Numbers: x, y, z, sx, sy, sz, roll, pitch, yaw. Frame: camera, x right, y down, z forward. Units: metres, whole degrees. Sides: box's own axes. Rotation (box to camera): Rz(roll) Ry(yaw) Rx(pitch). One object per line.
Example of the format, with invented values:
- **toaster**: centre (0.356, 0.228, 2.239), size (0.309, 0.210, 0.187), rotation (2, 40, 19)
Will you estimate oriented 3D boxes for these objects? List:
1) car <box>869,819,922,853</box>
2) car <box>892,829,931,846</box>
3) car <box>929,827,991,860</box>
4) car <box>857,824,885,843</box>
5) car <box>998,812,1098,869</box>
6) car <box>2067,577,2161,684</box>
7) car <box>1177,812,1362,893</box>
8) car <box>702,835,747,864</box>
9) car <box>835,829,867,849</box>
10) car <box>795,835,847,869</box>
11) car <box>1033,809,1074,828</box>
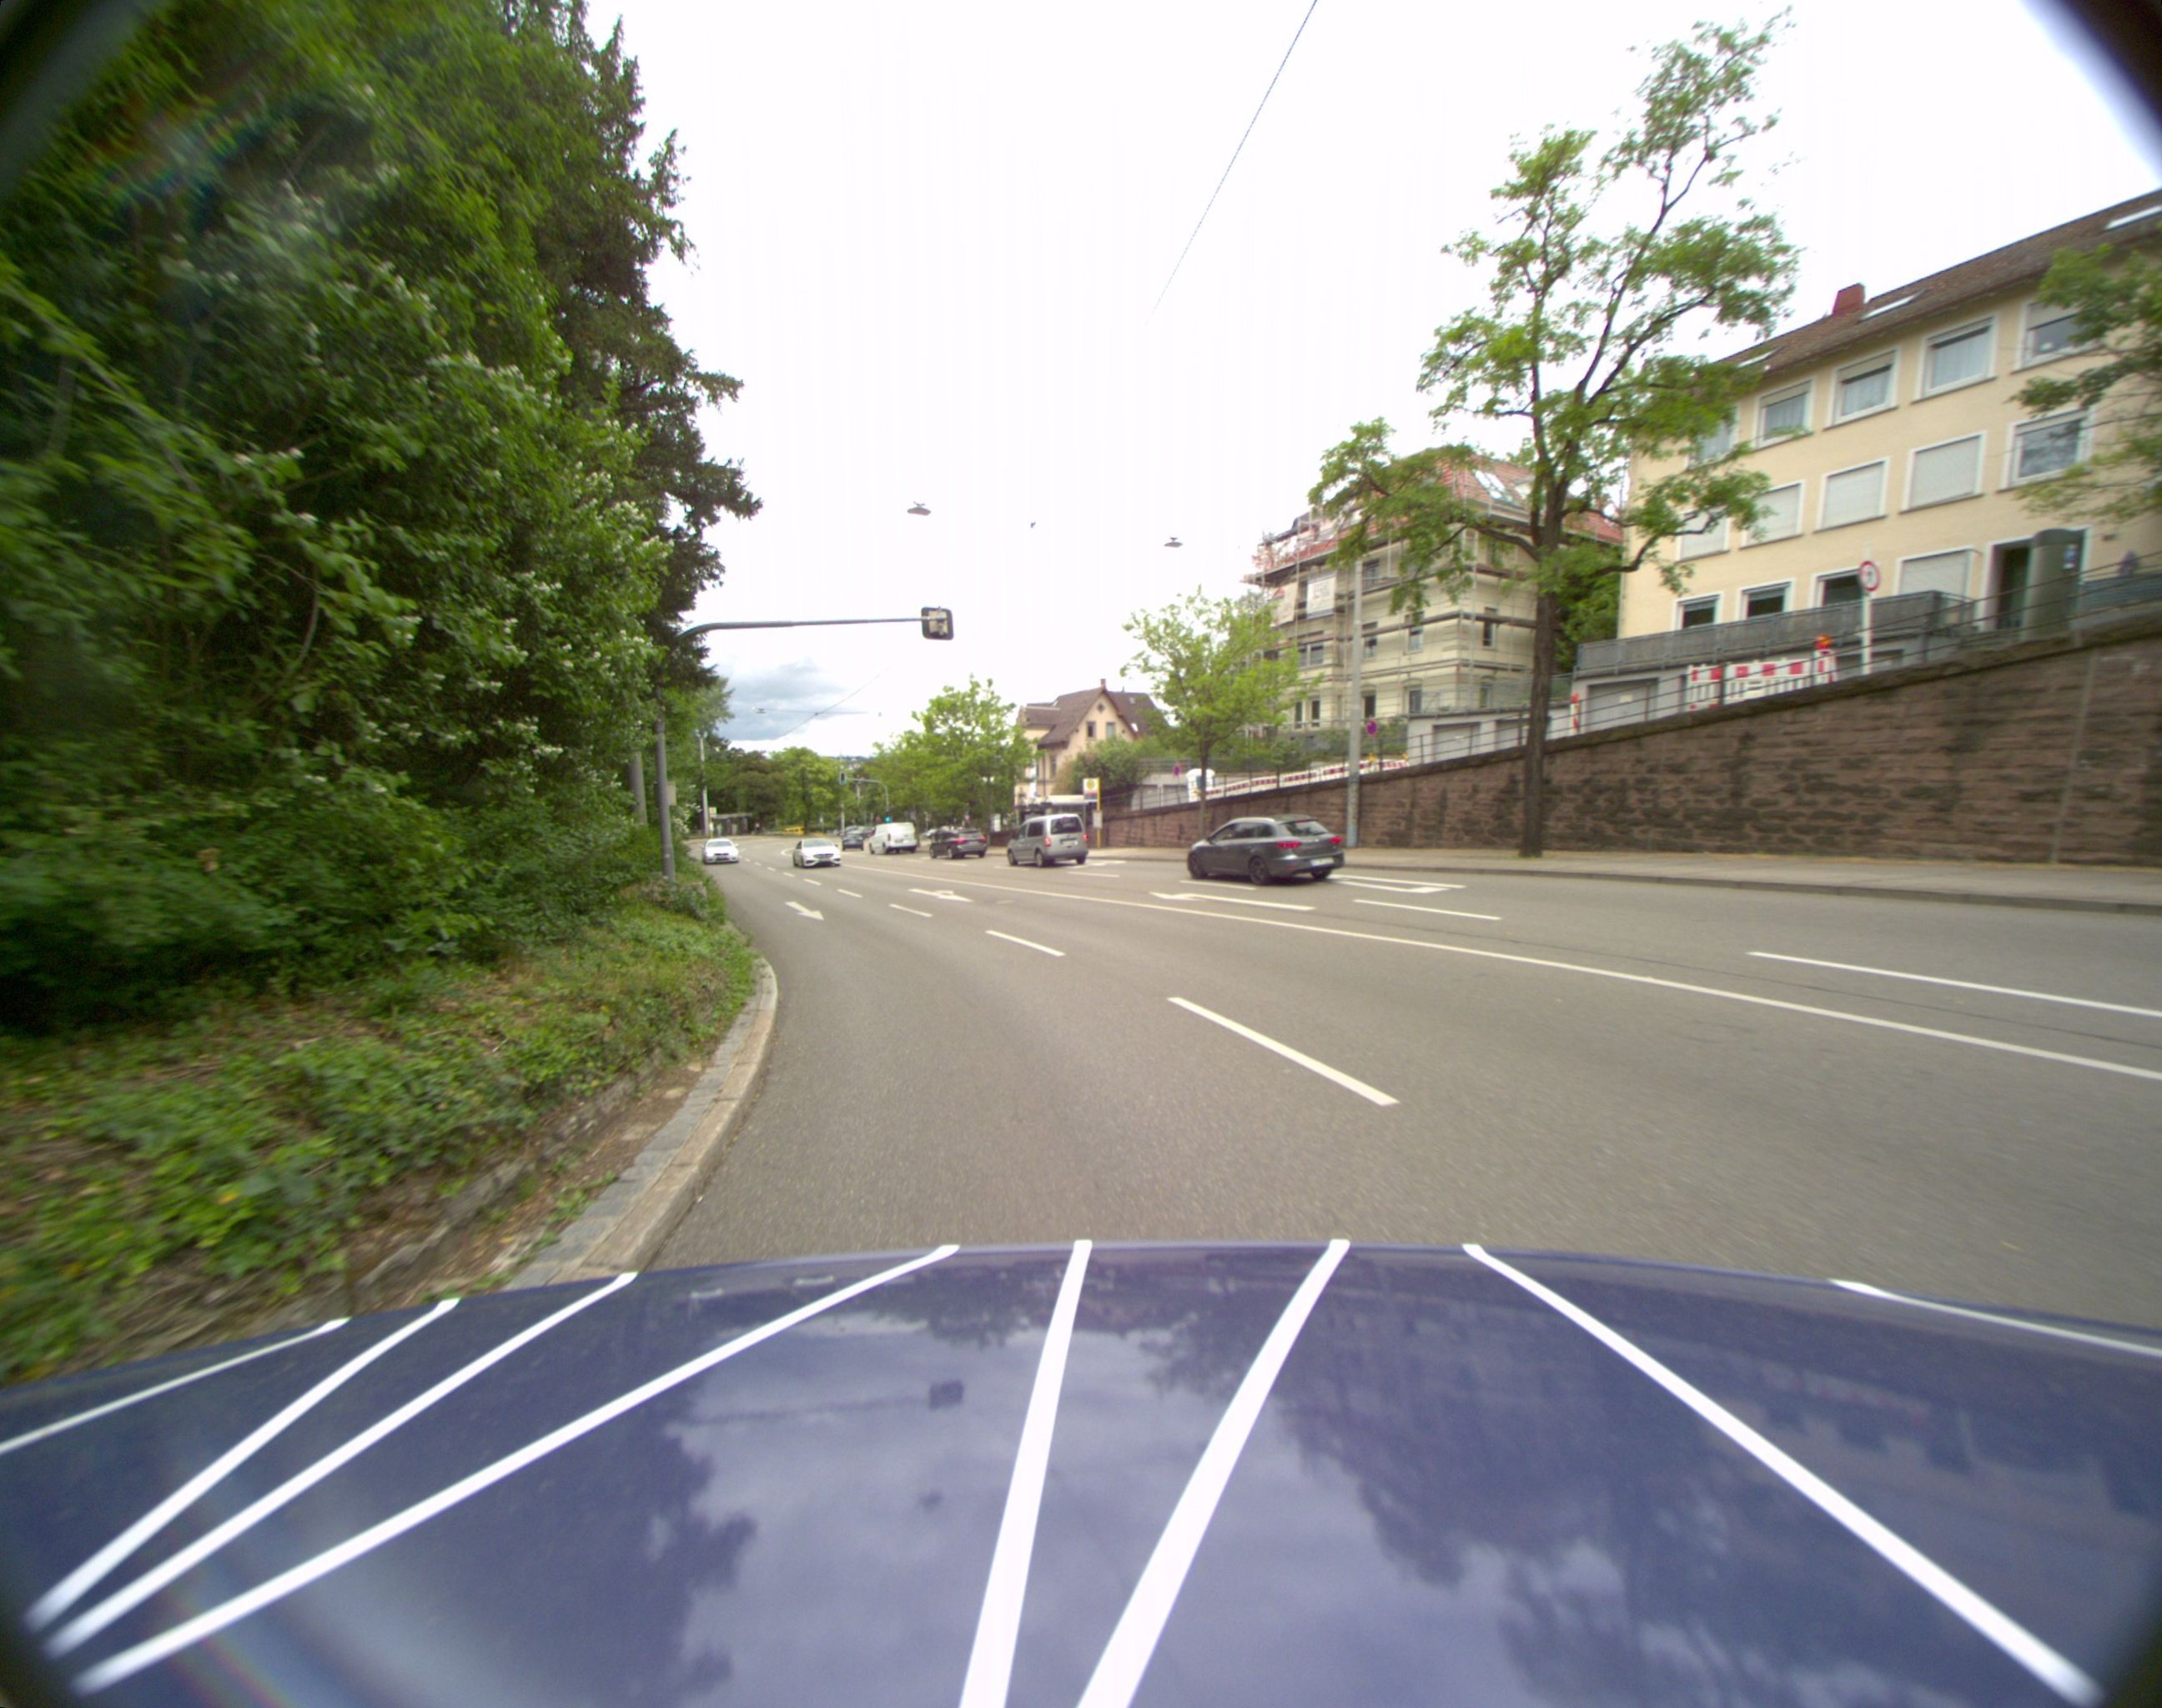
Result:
- **car**: centre (-12.415, -1.181, 50.638), size (2.002, 2.003, 5.411), rotation (-5, 3, -28)
- **car**: centre (-15.601, -1.564, 70.033), size (3.139, 1.464, 1.544), rotation (-2, 3, -27)
- **car**: centre (-6.222, -0.558, 38.579), size (1.664, 1.465, 4.601), rotation (-6, 4, -27)
- **car**: centre (-21.808, -2.157, 78.952), size (1.799, 1.854, 4.846), rotation (-2, 3, -4)
- **car**: centre (-1.331, -0.519, 28.182), size (1.864, 1.805, 4.438), rotation (-7, 4, -27)
- **car**: centre (19.520, -3.905, 12.222), size (1.775, 1.631, 4.057), rotation (-4, 4, -16)
- **car**: centre (4.078, -0.110, 17.222), size (1.790, 1.459, 4.393), rotation (-6, 4, -21)
- **car**: centre (-21.762, -0.321, 46.271), size (1.921, 1.543, 4.514), rotation (-4, 4, -31)
- **car**: centre (-19.148, -1.275, 63.122), size (1.702, 1.484, 3.791), rotation (-5, 4, -29)
- **car**: centre (-13.193, -0.170, 38.365), size (1.920, 1.470, 4.515), rotation (-5, 4, -25)
- **car**: centre (-2.104, -2.681, 57.281), size (1.712, 1.414, 3.625), rotation (-1, 3, -28)
